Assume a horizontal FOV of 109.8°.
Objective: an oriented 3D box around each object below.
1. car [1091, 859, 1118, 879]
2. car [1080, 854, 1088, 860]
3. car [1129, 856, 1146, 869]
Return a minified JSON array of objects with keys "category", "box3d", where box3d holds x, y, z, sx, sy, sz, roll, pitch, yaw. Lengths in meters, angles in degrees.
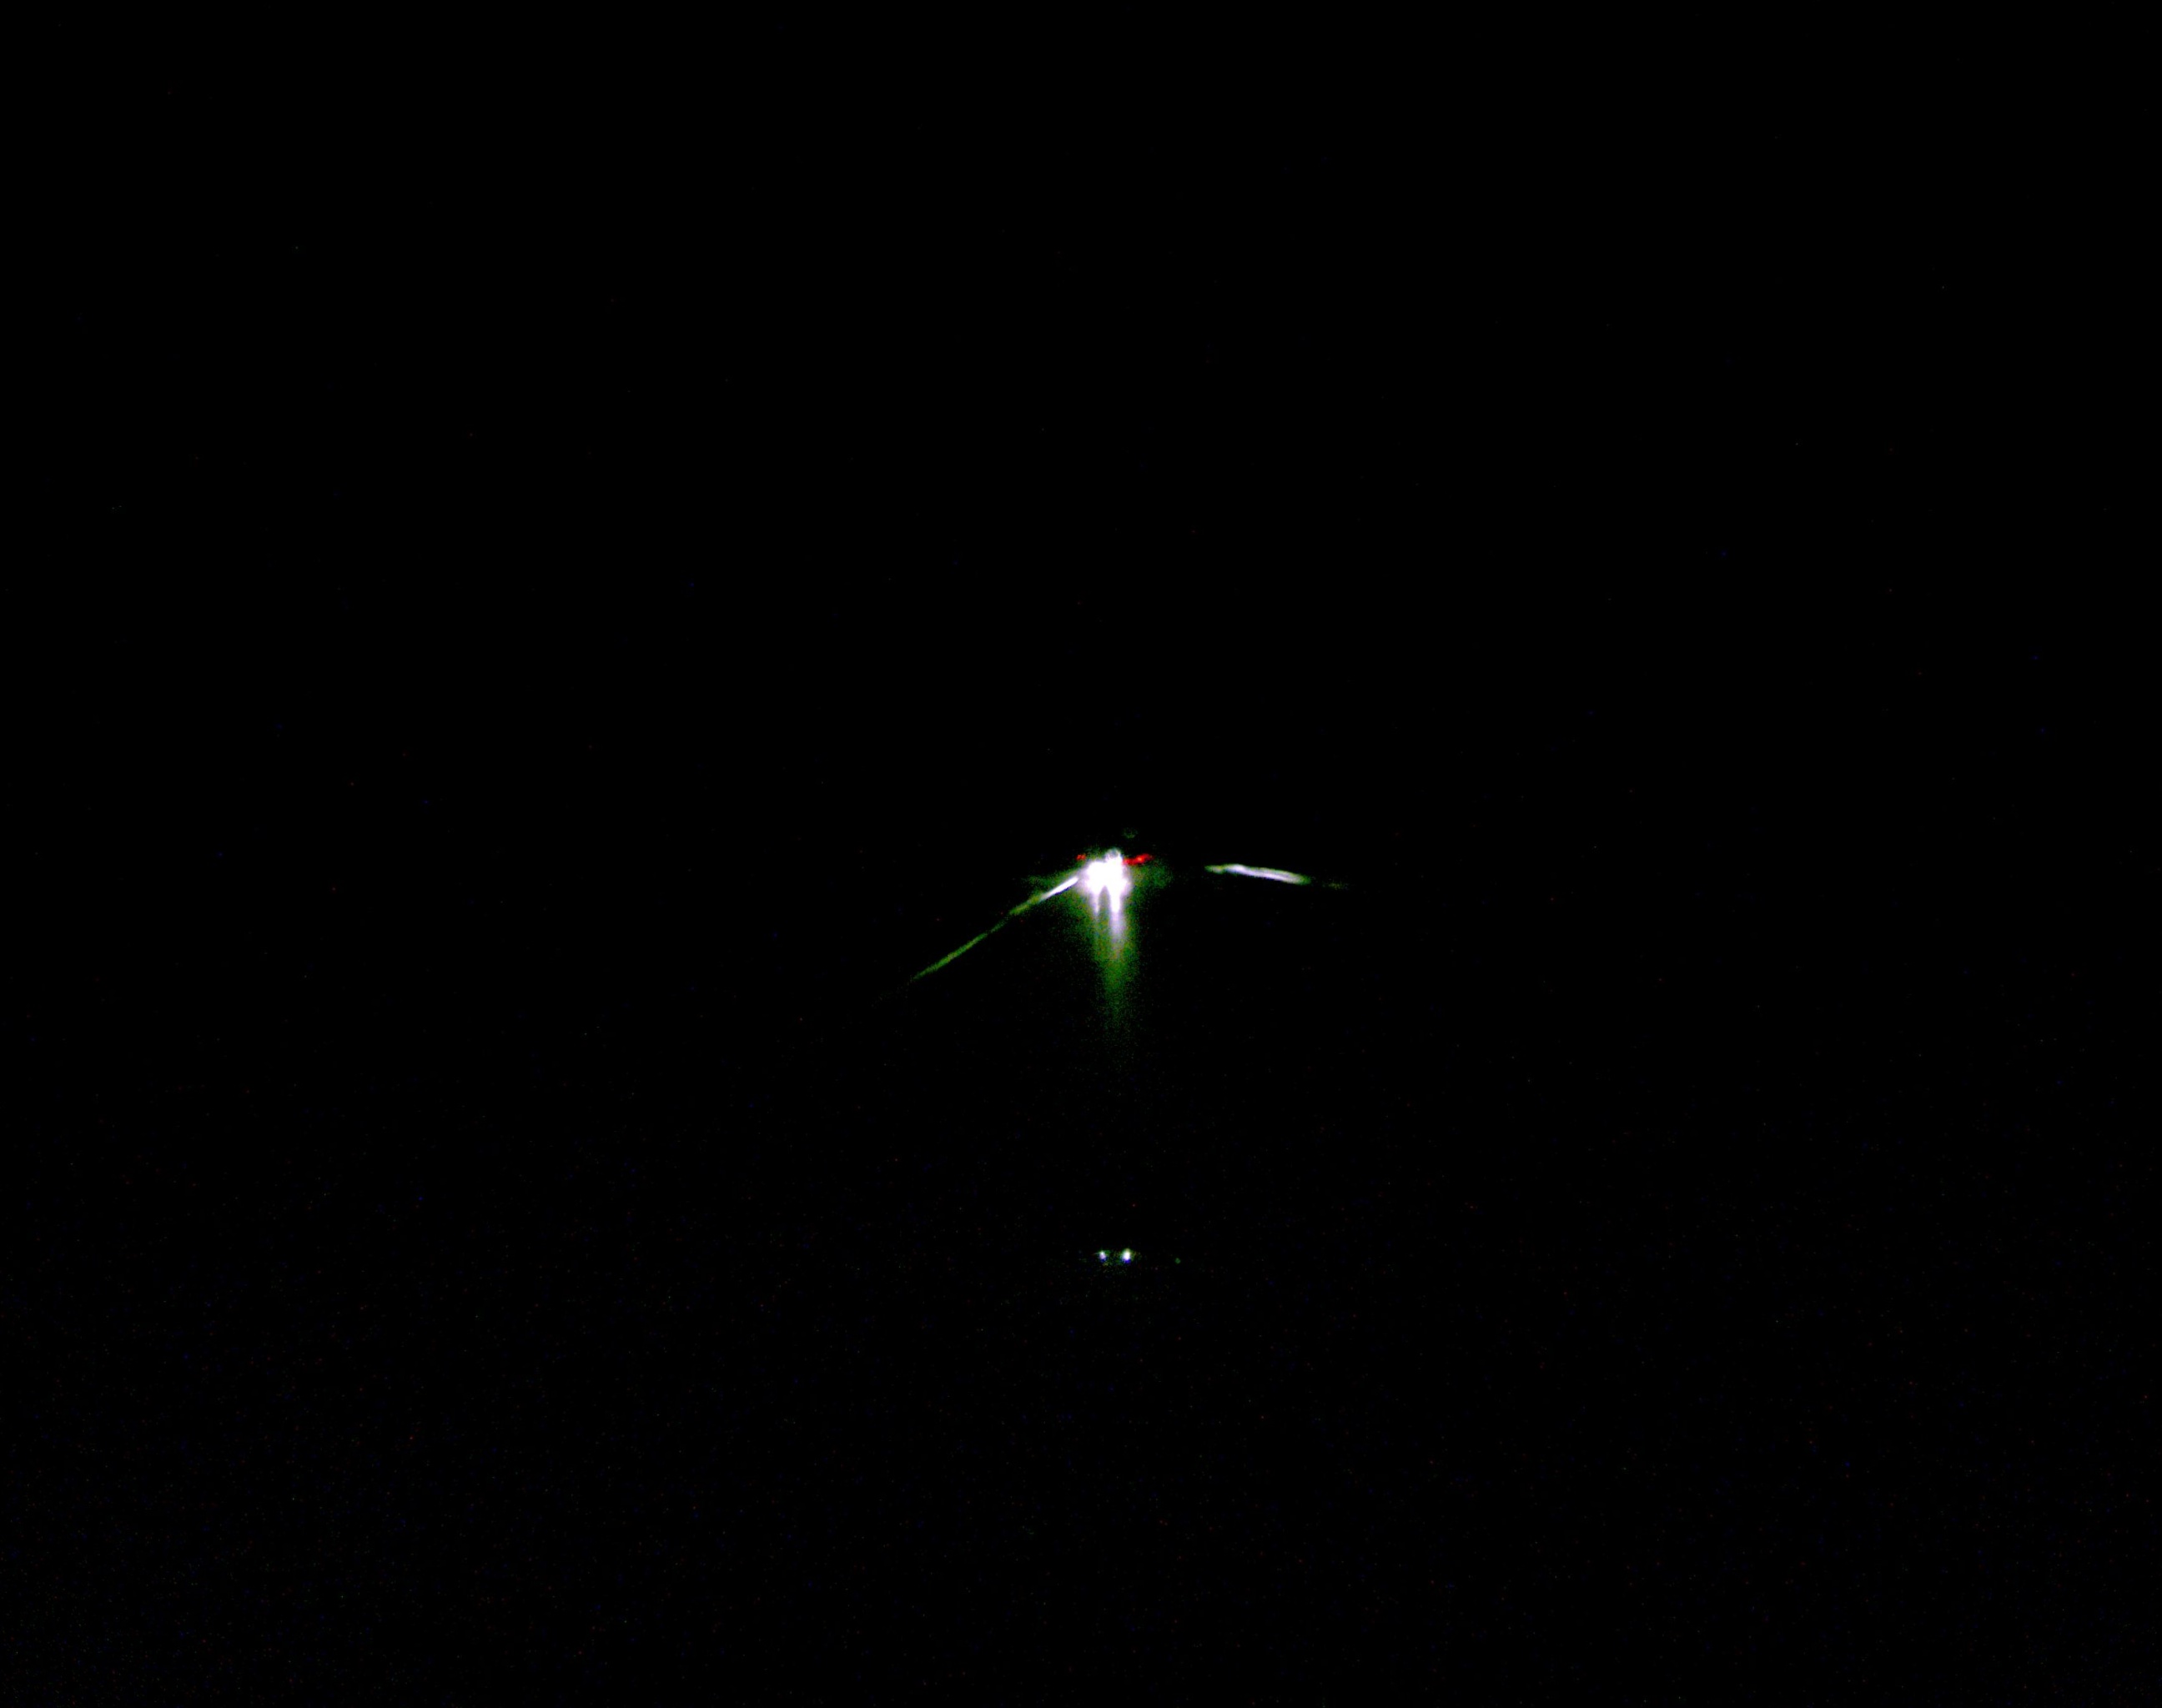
[{"category":"car","box3d":[1.800,1.154,59.892,1.776,1.444,4.135,-4,0,-1]},{"category":"car","box3d":[0.866,0.742,208.290,1.999,1.382,3.846,-5,-1,0]},{"category":"car","box3d":[6.966,1.042,94.220,1.922,1.455,4.260,-3,0,3]}]
